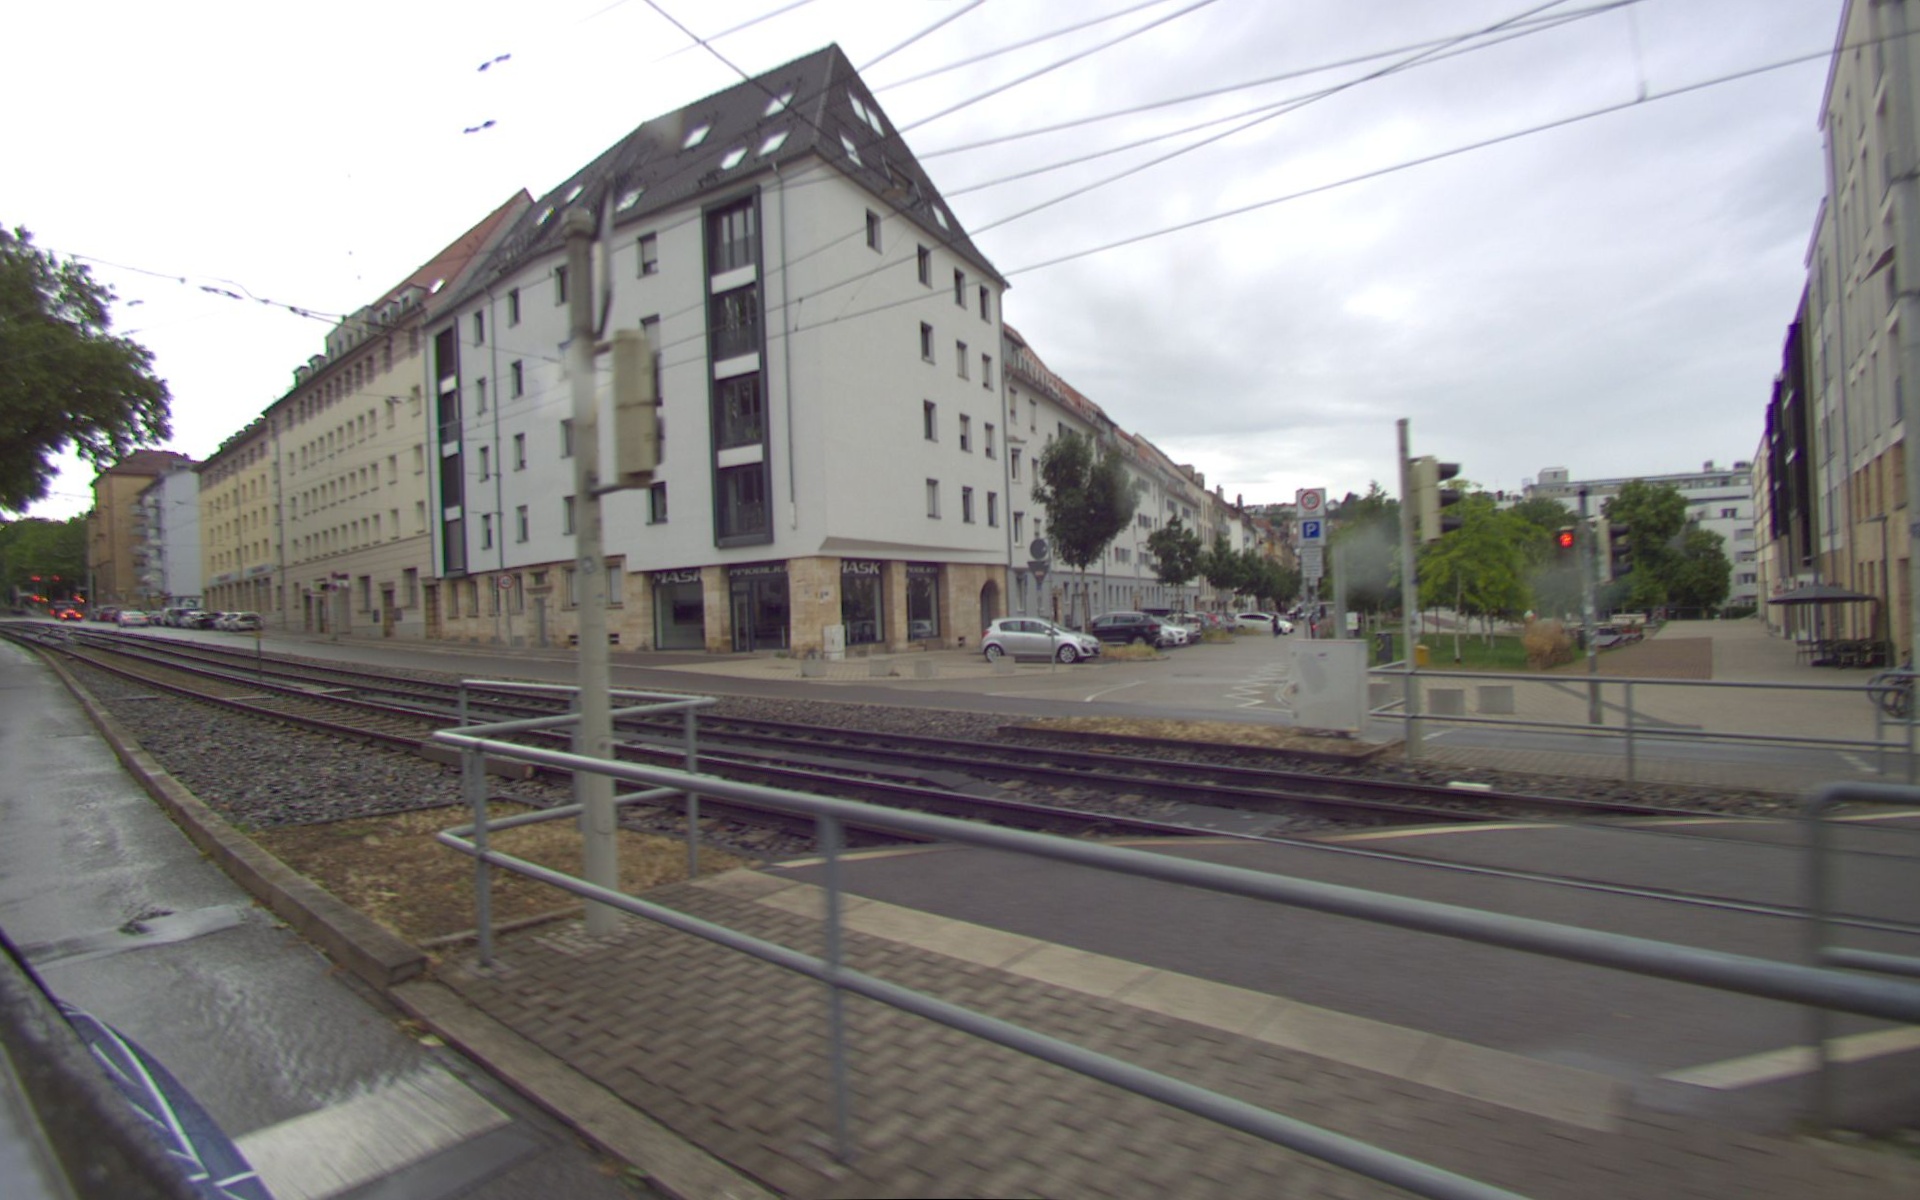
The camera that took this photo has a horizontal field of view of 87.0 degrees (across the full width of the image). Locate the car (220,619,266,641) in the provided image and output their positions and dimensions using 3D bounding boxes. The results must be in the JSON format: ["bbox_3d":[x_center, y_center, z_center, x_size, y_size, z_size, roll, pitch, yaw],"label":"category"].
[{"bbox_3d":[-54.570,2.251,77.034,3.999,1.554,2.003,-1,-1,42],"label":"car"}]

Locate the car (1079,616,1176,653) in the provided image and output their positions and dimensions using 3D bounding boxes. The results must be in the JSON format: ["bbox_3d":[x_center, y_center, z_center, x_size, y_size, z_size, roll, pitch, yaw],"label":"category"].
[{"bbox_3d":[7.610,1.543,45.900,3.976,1.630,1.925,-1,-1,24],"label":"car"}]

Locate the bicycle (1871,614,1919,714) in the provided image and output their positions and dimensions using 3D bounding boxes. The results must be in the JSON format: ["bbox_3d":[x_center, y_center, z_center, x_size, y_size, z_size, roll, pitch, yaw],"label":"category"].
[{"bbox_3d":[16.161,1.025,16.117,2.355,1.608,0.669,-1,-1,35],"label":"bicycle"}]

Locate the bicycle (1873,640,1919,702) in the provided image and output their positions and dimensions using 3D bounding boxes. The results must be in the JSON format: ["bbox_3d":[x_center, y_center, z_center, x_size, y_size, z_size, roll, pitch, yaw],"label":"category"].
[{"bbox_3d":[17.402,1.246,17.582,2.227,1.055,0.470,-1,-2,38],"label":"bicycle"}]

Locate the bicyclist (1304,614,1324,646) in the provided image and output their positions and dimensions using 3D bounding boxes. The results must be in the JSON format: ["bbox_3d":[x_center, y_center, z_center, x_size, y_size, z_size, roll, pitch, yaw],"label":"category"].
[{"bbox_3d":[20.603,1.753,58.898,0.890,1.818,0.787,-1,-1,8],"label":"bicyclist"}]

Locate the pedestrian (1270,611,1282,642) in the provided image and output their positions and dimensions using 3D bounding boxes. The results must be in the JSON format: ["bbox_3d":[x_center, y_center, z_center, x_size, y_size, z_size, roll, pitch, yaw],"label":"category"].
[{"bbox_3d":[20.906,1.740,66.940,0.717,2.029,0.733,-1,-2,21],"label":"pedestrian"}]

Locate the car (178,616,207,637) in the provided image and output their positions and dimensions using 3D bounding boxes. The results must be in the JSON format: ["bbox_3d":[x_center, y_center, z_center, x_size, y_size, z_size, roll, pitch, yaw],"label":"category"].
[{"bbox_3d":[-67.134,2.315,88.481,3.405,1.766,1.359,-1,-1,42],"label":"car"}]

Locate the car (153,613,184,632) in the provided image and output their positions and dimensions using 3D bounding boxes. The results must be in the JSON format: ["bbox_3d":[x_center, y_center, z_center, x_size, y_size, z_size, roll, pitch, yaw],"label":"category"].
[{"bbox_3d":[-75.205,2.130,96.108,3.591,1.822,1.704,-1,-1,42],"label":"car"}]

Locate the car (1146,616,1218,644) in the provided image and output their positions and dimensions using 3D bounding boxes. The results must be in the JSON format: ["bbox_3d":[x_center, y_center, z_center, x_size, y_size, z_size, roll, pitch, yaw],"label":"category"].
[{"bbox_3d":[13.427,1.796,61.138,3.976,1.630,1.925,-1,-1,24],"label":"car"}]

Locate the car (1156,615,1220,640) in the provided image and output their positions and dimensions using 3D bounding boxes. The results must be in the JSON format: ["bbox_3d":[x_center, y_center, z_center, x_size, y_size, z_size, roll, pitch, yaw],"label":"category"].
[{"bbox_3d":[15.442,1.860,68.536,3.976,1.630,1.925,-1,-1,24],"label":"car"}]

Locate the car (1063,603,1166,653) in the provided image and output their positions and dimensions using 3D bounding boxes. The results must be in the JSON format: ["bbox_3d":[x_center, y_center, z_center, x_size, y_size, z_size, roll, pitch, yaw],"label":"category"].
[{"bbox_3d":[6.610,1.193,43.309,3.976,2.029,1.925,-1,-1,24],"label":"car"}]

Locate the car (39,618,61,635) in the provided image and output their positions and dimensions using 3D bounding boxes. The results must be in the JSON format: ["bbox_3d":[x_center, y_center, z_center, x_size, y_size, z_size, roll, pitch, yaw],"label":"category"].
[{"bbox_3d":[-132.649,3.850,147.571,4.752,2.452,2.153,-1,-1,45],"label":"car"}]

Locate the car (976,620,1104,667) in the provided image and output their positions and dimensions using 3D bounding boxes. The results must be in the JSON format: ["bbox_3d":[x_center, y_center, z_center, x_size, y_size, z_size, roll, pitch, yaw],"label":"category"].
[{"bbox_3d":[2.597,1.383,32.984,3.889,1.431,1.590,0,-1,21],"label":"car"}]

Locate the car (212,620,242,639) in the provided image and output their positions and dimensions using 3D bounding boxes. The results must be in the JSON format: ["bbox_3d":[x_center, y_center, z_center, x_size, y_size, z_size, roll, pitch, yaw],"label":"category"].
[{"bbox_3d":[-57.856,2.302,79.852,3.190,1.495,1.309,-1,-1,42],"label":"car"}]

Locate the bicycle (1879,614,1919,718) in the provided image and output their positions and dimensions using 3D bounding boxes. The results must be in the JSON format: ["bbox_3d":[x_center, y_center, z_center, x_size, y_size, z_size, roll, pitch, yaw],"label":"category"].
[{"bbox_3d":[15.713,1.023,15.477,2.355,1.608,0.669,-1,-1,35],"label":"bicycle"}]

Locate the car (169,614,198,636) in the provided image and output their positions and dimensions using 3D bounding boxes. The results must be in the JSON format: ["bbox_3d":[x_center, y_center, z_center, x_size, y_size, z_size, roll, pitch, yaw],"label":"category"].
[{"bbox_3d":[-70.413,2.249,91.759,4.043,1.897,1.535,-1,-1,45],"label":"car"}]

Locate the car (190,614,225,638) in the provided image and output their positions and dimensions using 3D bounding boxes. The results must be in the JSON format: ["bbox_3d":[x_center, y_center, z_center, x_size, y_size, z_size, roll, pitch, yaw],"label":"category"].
[{"bbox_3d":[-63.030,2.156,84.732,4.300,1.975,1.705,-1,-1,44],"label":"car"}]

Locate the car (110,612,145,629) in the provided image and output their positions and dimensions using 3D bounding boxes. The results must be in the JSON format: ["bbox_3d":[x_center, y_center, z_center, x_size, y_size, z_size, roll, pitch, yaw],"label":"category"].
[{"bbox_3d":[-77.103,1.930,93.694,5.014,1.548,1.669,-1,-1,41],"label":"car"}]

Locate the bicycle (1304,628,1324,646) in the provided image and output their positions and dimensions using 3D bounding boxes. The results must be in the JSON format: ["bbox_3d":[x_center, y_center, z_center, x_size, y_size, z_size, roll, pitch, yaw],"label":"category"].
[{"bbox_3d":[20.694,2.146,59.215,0.727,1.036,2.007,-1,-1,8],"label":"bicycle"}]

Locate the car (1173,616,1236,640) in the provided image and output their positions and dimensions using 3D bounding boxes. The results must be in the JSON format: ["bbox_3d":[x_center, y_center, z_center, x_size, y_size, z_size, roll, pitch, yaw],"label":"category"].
[{"bbox_3d":[17.032,1.955,70.380,3.976,1.630,1.925,-1,-1,24],"label":"car"}]

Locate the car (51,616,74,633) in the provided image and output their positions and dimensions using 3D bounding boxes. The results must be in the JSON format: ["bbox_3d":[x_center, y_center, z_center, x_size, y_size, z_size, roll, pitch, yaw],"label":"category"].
[{"bbox_3d":[-112.040,3.060,126.298,4.002,2.029,1.922,-1,-1,45],"label":"car"}]

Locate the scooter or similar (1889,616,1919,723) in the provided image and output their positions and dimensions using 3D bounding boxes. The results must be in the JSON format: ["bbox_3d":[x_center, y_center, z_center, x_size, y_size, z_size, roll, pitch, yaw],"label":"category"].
[{"bbox_3d":[15.345,1.041,14.905,2.355,1.608,0.594,-1,-1,35],"label":"scooter or similar"}]

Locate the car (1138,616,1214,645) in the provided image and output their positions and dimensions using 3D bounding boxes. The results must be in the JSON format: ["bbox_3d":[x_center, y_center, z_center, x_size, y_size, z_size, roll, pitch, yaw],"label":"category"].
[{"bbox_3d":[12.579,1.781,58.941,3.977,1.630,1.924,-1,-1,25],"label":"car"}]

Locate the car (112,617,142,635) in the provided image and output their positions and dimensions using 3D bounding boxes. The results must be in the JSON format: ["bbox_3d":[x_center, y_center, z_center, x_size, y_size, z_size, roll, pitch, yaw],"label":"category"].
[{"bbox_3d":[-93.005,2.886,112.953,4.226,2.029,2.003,-1,-1,42],"label":"car"}]

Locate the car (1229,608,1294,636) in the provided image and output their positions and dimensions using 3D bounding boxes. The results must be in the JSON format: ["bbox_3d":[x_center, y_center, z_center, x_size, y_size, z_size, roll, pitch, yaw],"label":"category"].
[{"bbox_3d":[22.716,1.689,76.309,4.312,2.029,1.827,-1,-2,32],"label":"car"}]

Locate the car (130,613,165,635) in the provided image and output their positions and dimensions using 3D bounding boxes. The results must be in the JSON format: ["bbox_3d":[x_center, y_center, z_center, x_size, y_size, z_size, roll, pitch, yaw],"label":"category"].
[{"bbox_3d":[-79.638,2.316,99.184,4.226,2.029,2.003,-1,-1,42],"label":"car"}]
